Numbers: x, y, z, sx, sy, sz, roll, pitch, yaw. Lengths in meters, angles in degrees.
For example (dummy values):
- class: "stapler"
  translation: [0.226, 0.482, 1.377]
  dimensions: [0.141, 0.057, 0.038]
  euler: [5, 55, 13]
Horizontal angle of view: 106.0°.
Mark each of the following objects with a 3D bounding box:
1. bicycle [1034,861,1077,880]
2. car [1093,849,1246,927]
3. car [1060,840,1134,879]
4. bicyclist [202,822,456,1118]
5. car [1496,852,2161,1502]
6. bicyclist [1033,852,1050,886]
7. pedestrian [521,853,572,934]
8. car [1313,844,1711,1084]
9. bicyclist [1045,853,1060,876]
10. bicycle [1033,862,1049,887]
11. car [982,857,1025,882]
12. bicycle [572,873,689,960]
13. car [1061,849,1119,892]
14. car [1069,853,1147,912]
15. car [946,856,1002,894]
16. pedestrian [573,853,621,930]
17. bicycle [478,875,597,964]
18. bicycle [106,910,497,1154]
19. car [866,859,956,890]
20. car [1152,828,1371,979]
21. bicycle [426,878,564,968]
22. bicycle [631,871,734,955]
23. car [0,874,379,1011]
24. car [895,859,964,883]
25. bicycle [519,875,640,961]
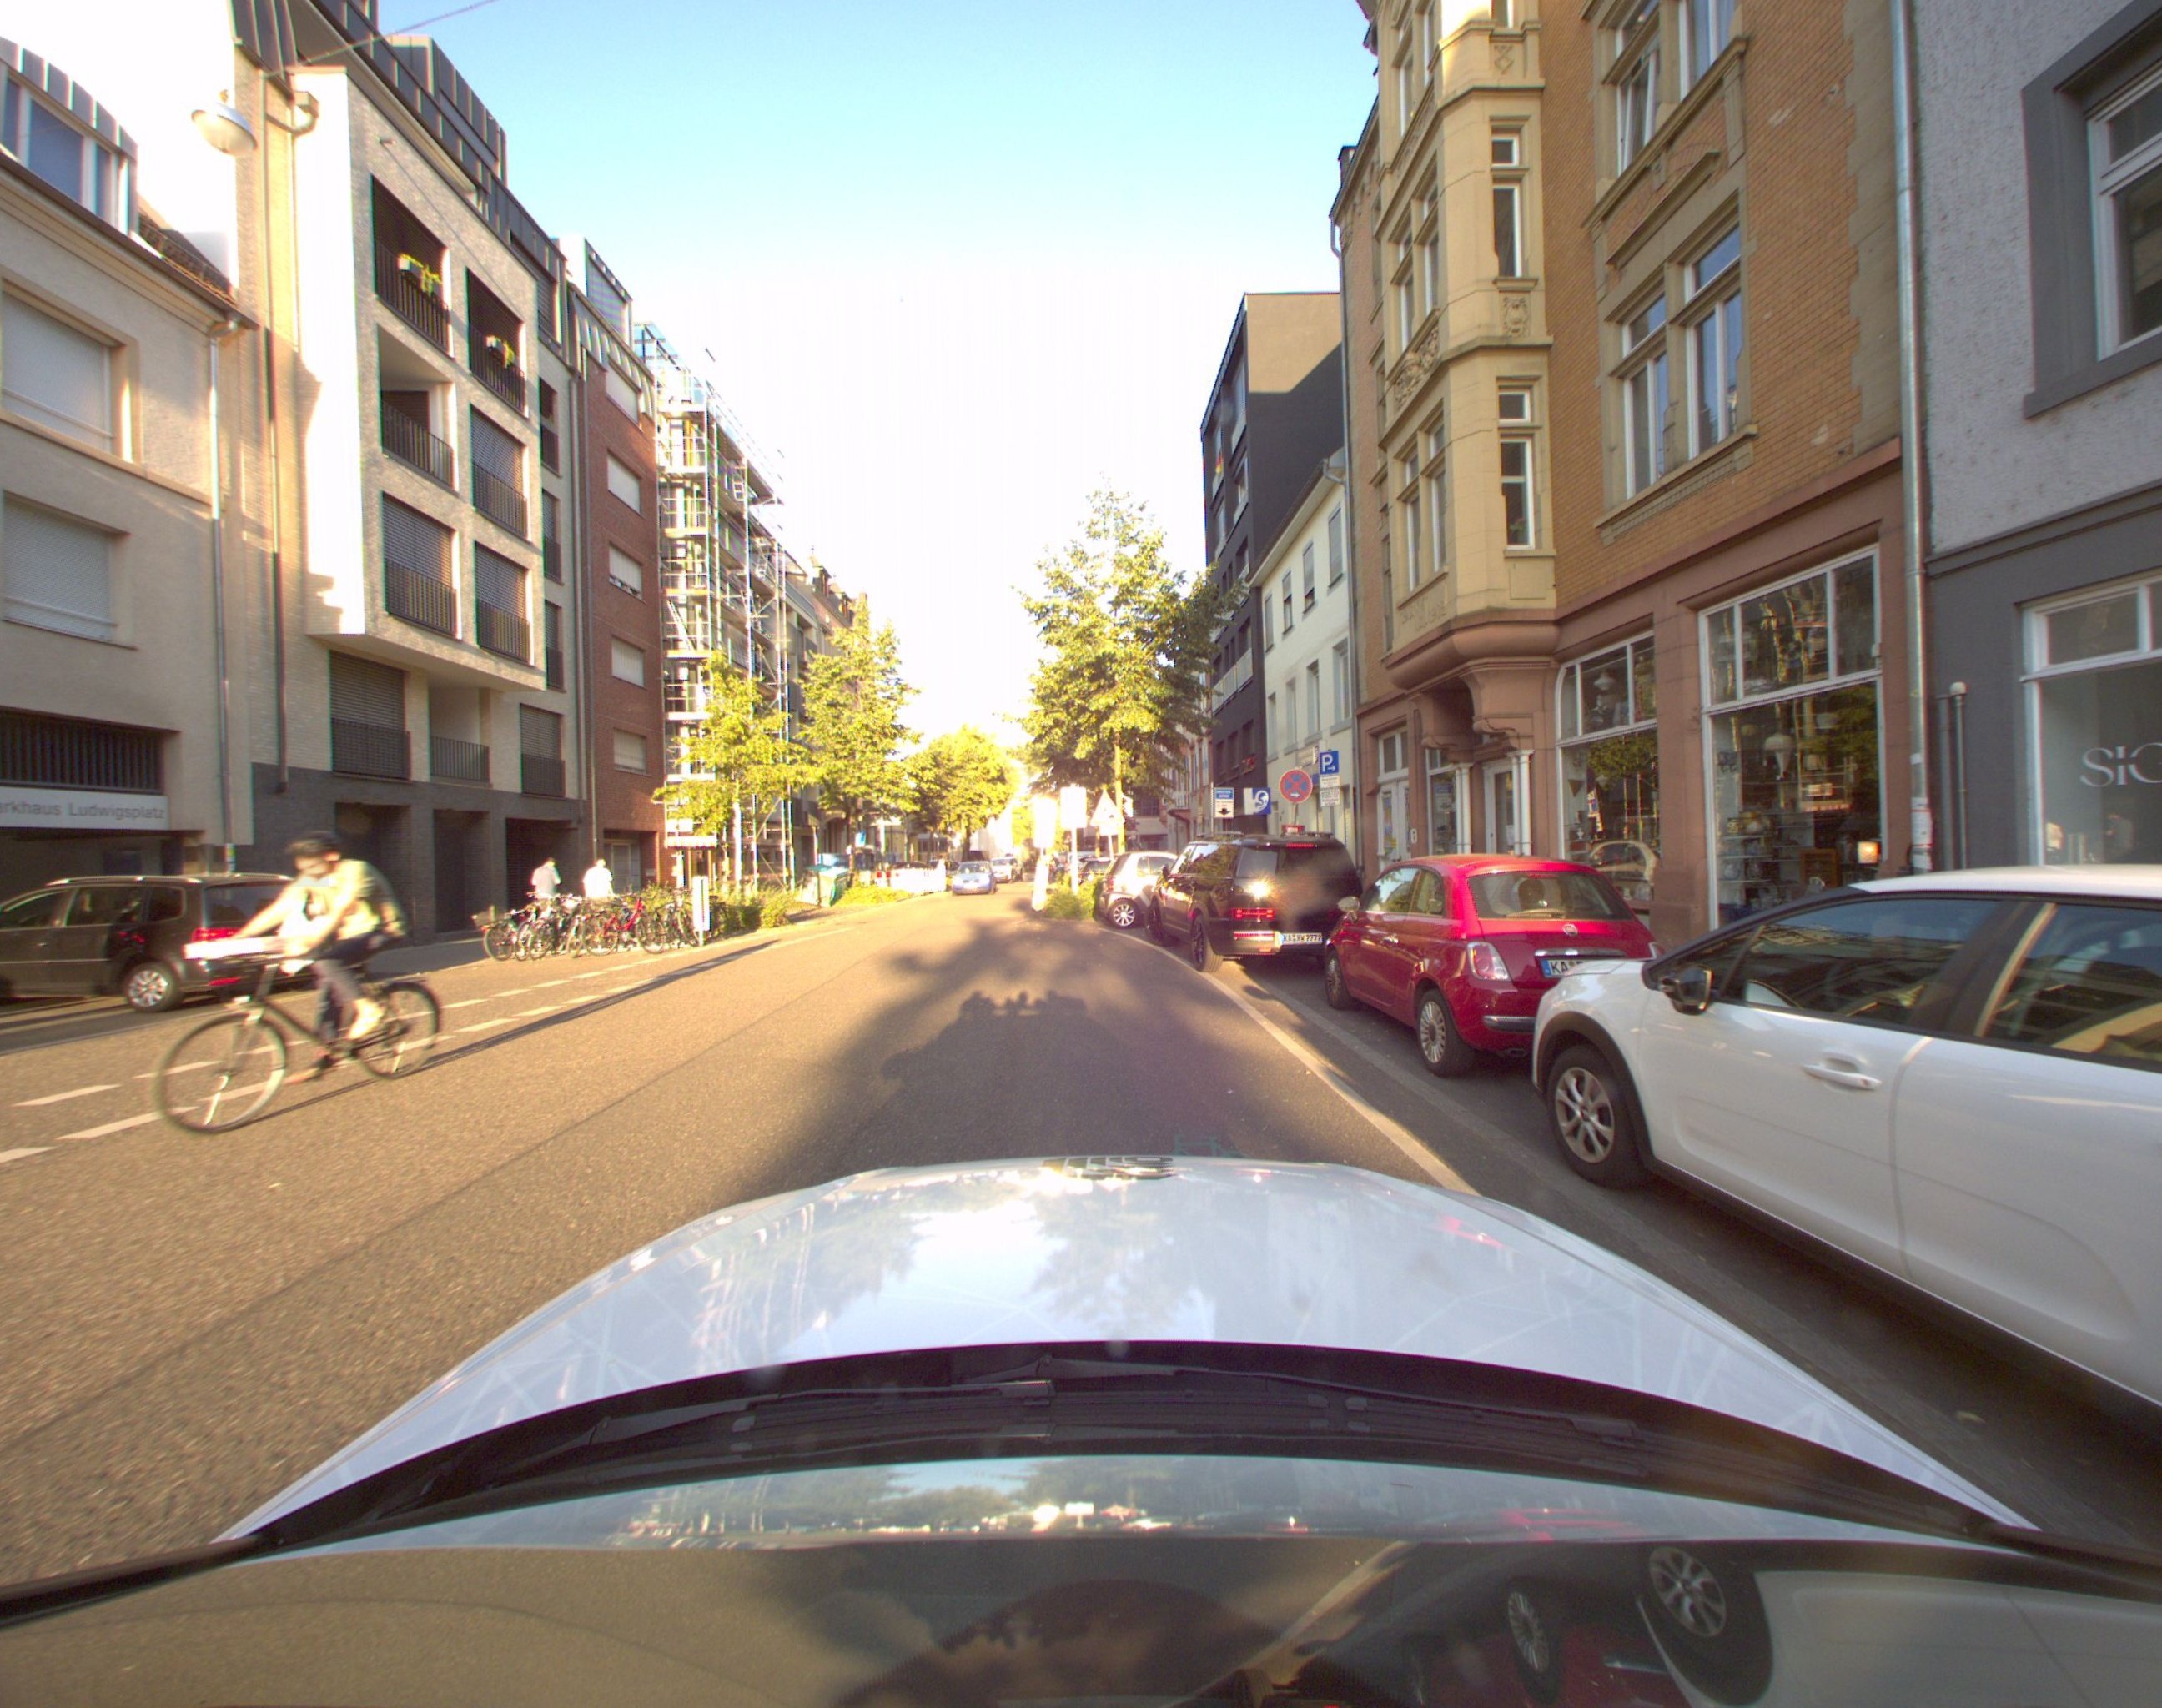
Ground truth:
- class: "bicycle"
  translation: [-1.968, 1.235, 61.791]
  dimensions: [3.174, 1.351, 0.845]
  euler: [-2, 0, -8]
- class: "car"
  translation: [1.811, 0.681, 17.099]
  dimensions: [2.964, 1.536, 1.430]
  euler: [0, -1, -6]
- class: "car"
  translation: [0.924, 0.310, 45.431]
  dimensions: [3.971, 2.013, 2.001]
  euler: [-2, 0, 2]
- class: "bicyclist"
  translation: [-5.131, 0.728, 5.646]
  dimensions: [0.779, 1.829, 1.006]
  euler: [-2, -1, -4]
- class: "car"
  translation: [3.109, 0.685, 2.540]
  dimensions: [1.661, 1.378, 3.801]
  euler: [0, 0, -1]
- class: "bicyclist"
  translation: [-2.067, 0.783, 42.399]
  dimensions: [0.779, 1.696, 1.006]
  euler: [-2, -1, -4]
- class: "pedestrian"
  translation: [-11.835, 0.860, 18.046]
  dimensions: [0.716, 1.767, 0.692]
  euler: [0, -1, -9]
- class: "car"
  translation: [3.154, 0.695, 6.715]
  dimensions: [1.582, 1.483, 3.266]
  euler: [0, 0, 1]
- class: "bicyclist"
  translation: [-2.138, 0.773, 61.833]
  dimensions: [1.003, 1.696, 0.781]
  euler: [-2, -1, -7]
- class: "bicycle"
  translation: [-2.095, 1.051, 42.599]
  dimensions: [0.779, 1.204, 2.018]
  euler: [-2, 0, -4]
- class: "car"
  translation: [-4.709, 0.920, 50.217]
  dimensions: [1.875, 1.480, 4.465]
  euler: [0, 0, 5]
- class: "bicycle"
  translation: [-8.347, 1.082, 15.286]
  dimensions: [0.893, 1.395, 3.155]
  euler: [-1, 0, -10]
- class: "car"
  translation: [0.360, 0.761, 39.091]
  dimensions: [2.261, 1.766, 4.502]
  euler: [4, -1, -4]
- class: "car"
  translation: [0.746, 0.843, 25.784]
  dimensions: [1.990, 1.668, 4.502]
  euler: [0, 0, -4]
- class: "car"
  translation: [-4.530, 0.849, 35.005]
  dimensions: [1.832, 1.441, 4.330]
  euler: [-2, 0, 0]
- class: "pedestrian"
  translation: [-11.212, 0.863, 18.884]
  dimensions: [0.716, 1.740, 0.736]
  euler: [0, -1, -9]
- class: "bicycle"
  translation: [-9.879, 1.123, 14.977]
  dimensions: [0.585, 1.395, 3.150]
  euler: [0, -1, -10]
- class: "bicycle"
  translation: [-5.107, 1.065, 5.591]
  dimensions: [0.779, 1.204, 2.018]
  euler: [-2, 0, -4]
- class: "car"
  translation: [-8.482, 1.003, 40.843]
  dimensions: [4.089, 1.466, 1.889]
  euler: [0, -1, 0]
- class: "car"
  translation: [2.252, 0.572, 11.428]
  dimensions: [1.821, 1.695, 4.362]
  euler: [0, 0, -4]
- class: "bicycle"
  translation: [-10.544, 1.168, 14.847]
  dimensions: [0.721, 1.395, 3.142]
  euler: [0, -1, -10]
- class: "bicycle"
  translation: [-7.464, 1.033, 15.452]
  dimensions: [0.844, 1.350, 3.176]
  euler: [-2, 0, -10]
- class: "car"
  translation: [-12.444, 1.100, 10.849]
  dimensions: [4.477, 1.601, 2.001]
  euler: [0, -1, 2]
- class: "car"
  translation: [-9.778, 1.102, 52.738]
  dimensions: [4.089, 1.466, 1.889]
  euler: [0, -1, 0]
- class: "bicycle"
  translation: [-9.190, 1.103, 15.120]
  dimensions: [0.780, 1.373, 3.132]
  euler: [0, -1, -10]
